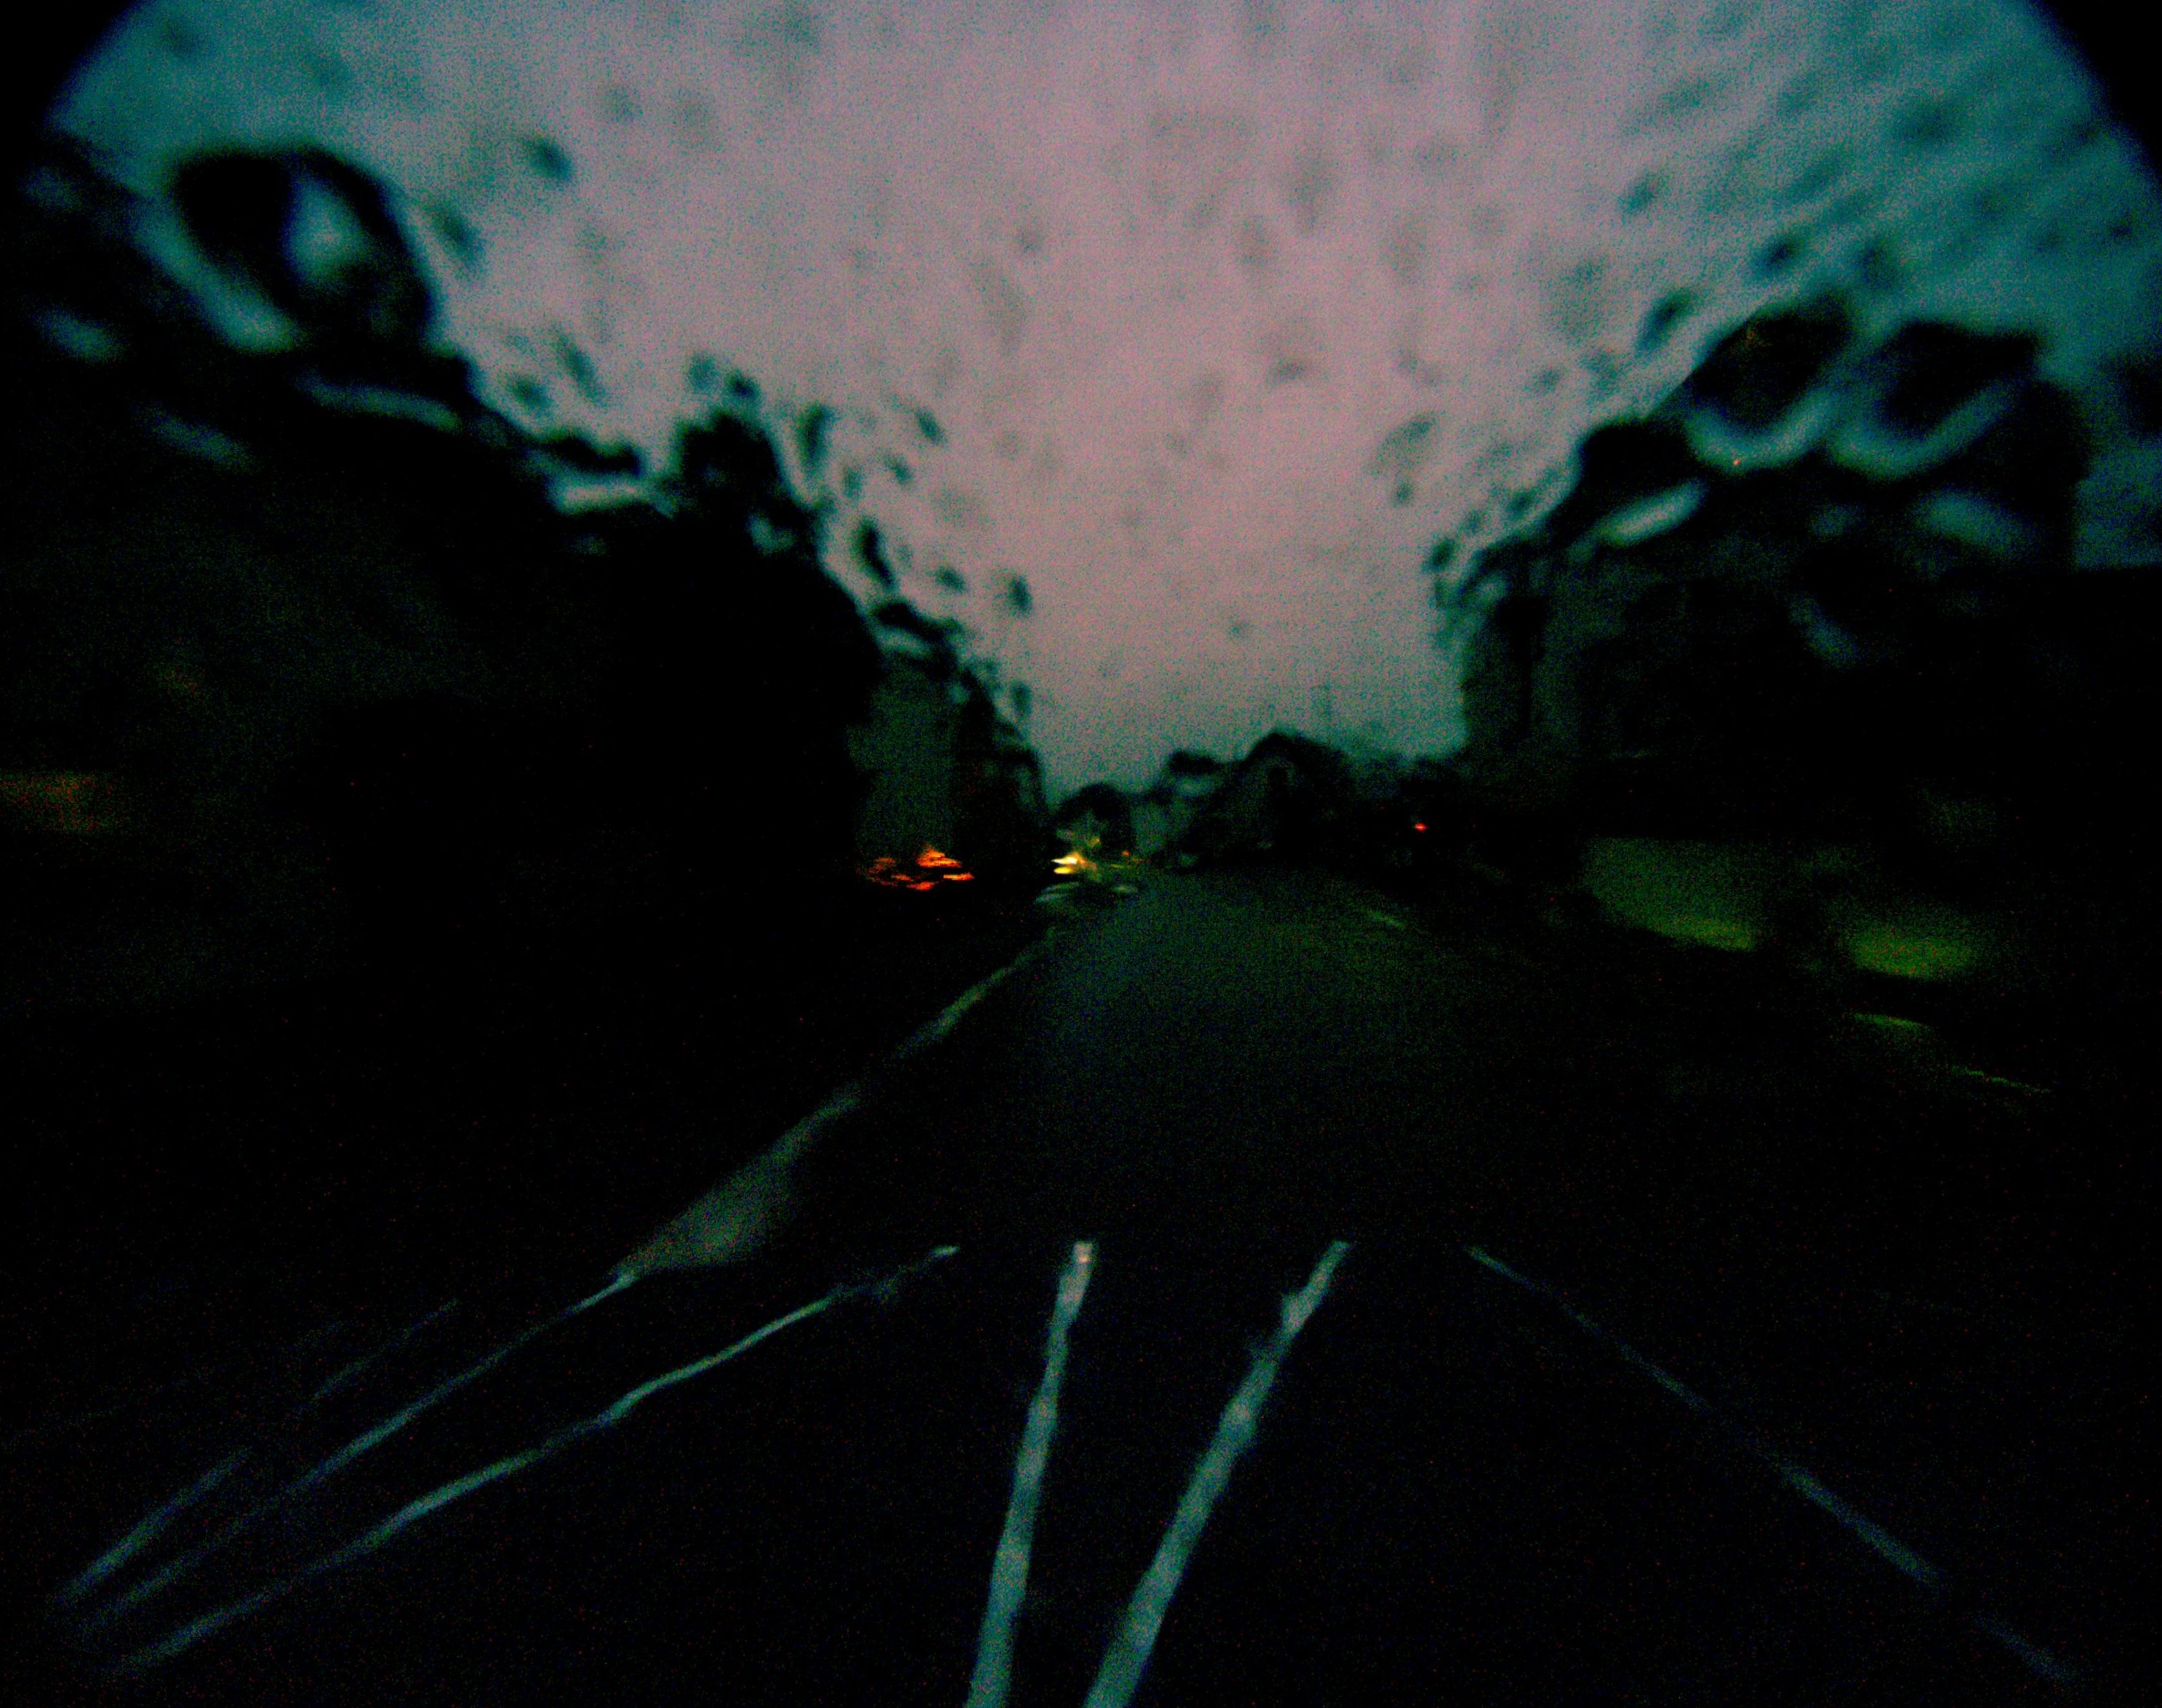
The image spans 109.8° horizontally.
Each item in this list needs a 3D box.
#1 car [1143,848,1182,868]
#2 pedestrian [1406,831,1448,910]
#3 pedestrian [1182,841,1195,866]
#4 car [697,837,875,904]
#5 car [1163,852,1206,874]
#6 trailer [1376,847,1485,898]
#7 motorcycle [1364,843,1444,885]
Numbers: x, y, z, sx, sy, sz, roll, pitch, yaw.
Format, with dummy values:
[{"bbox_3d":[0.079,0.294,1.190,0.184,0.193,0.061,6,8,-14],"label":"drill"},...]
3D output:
[{"bbox_3d":[6.263,0.307,58.551,1.829,1.432,4.064,-4,1,-10],"label":"car"},{"bbox_3d":[7.829,0.362,17.215,0.599,1.723,0.812,-3,2,10],"label":"pedestrian"},{"bbox_3d":[8.012,-0.051,56.778,0.708,1.769,0.811,-4,2,-6],"label":"pedestrian"},{"bbox_3d":[-8.329,0.457,21.794,4.263,1.639,2.063,3,0,-3],"label":"car"},{"bbox_3d":[7.171,0.590,53.018,1.754,1.380,4.142,-4,1,-10],"label":"car"},{"bbox_3d":[10.389,0.488,22.986,2.061,1.162,4.872,-4,1,14],"label":"trailer"},{"bbox_3d":[11.061,0.352,26.060,2.232,1.291,1.059,-3,1,44],"label":"motorcycle"}]
